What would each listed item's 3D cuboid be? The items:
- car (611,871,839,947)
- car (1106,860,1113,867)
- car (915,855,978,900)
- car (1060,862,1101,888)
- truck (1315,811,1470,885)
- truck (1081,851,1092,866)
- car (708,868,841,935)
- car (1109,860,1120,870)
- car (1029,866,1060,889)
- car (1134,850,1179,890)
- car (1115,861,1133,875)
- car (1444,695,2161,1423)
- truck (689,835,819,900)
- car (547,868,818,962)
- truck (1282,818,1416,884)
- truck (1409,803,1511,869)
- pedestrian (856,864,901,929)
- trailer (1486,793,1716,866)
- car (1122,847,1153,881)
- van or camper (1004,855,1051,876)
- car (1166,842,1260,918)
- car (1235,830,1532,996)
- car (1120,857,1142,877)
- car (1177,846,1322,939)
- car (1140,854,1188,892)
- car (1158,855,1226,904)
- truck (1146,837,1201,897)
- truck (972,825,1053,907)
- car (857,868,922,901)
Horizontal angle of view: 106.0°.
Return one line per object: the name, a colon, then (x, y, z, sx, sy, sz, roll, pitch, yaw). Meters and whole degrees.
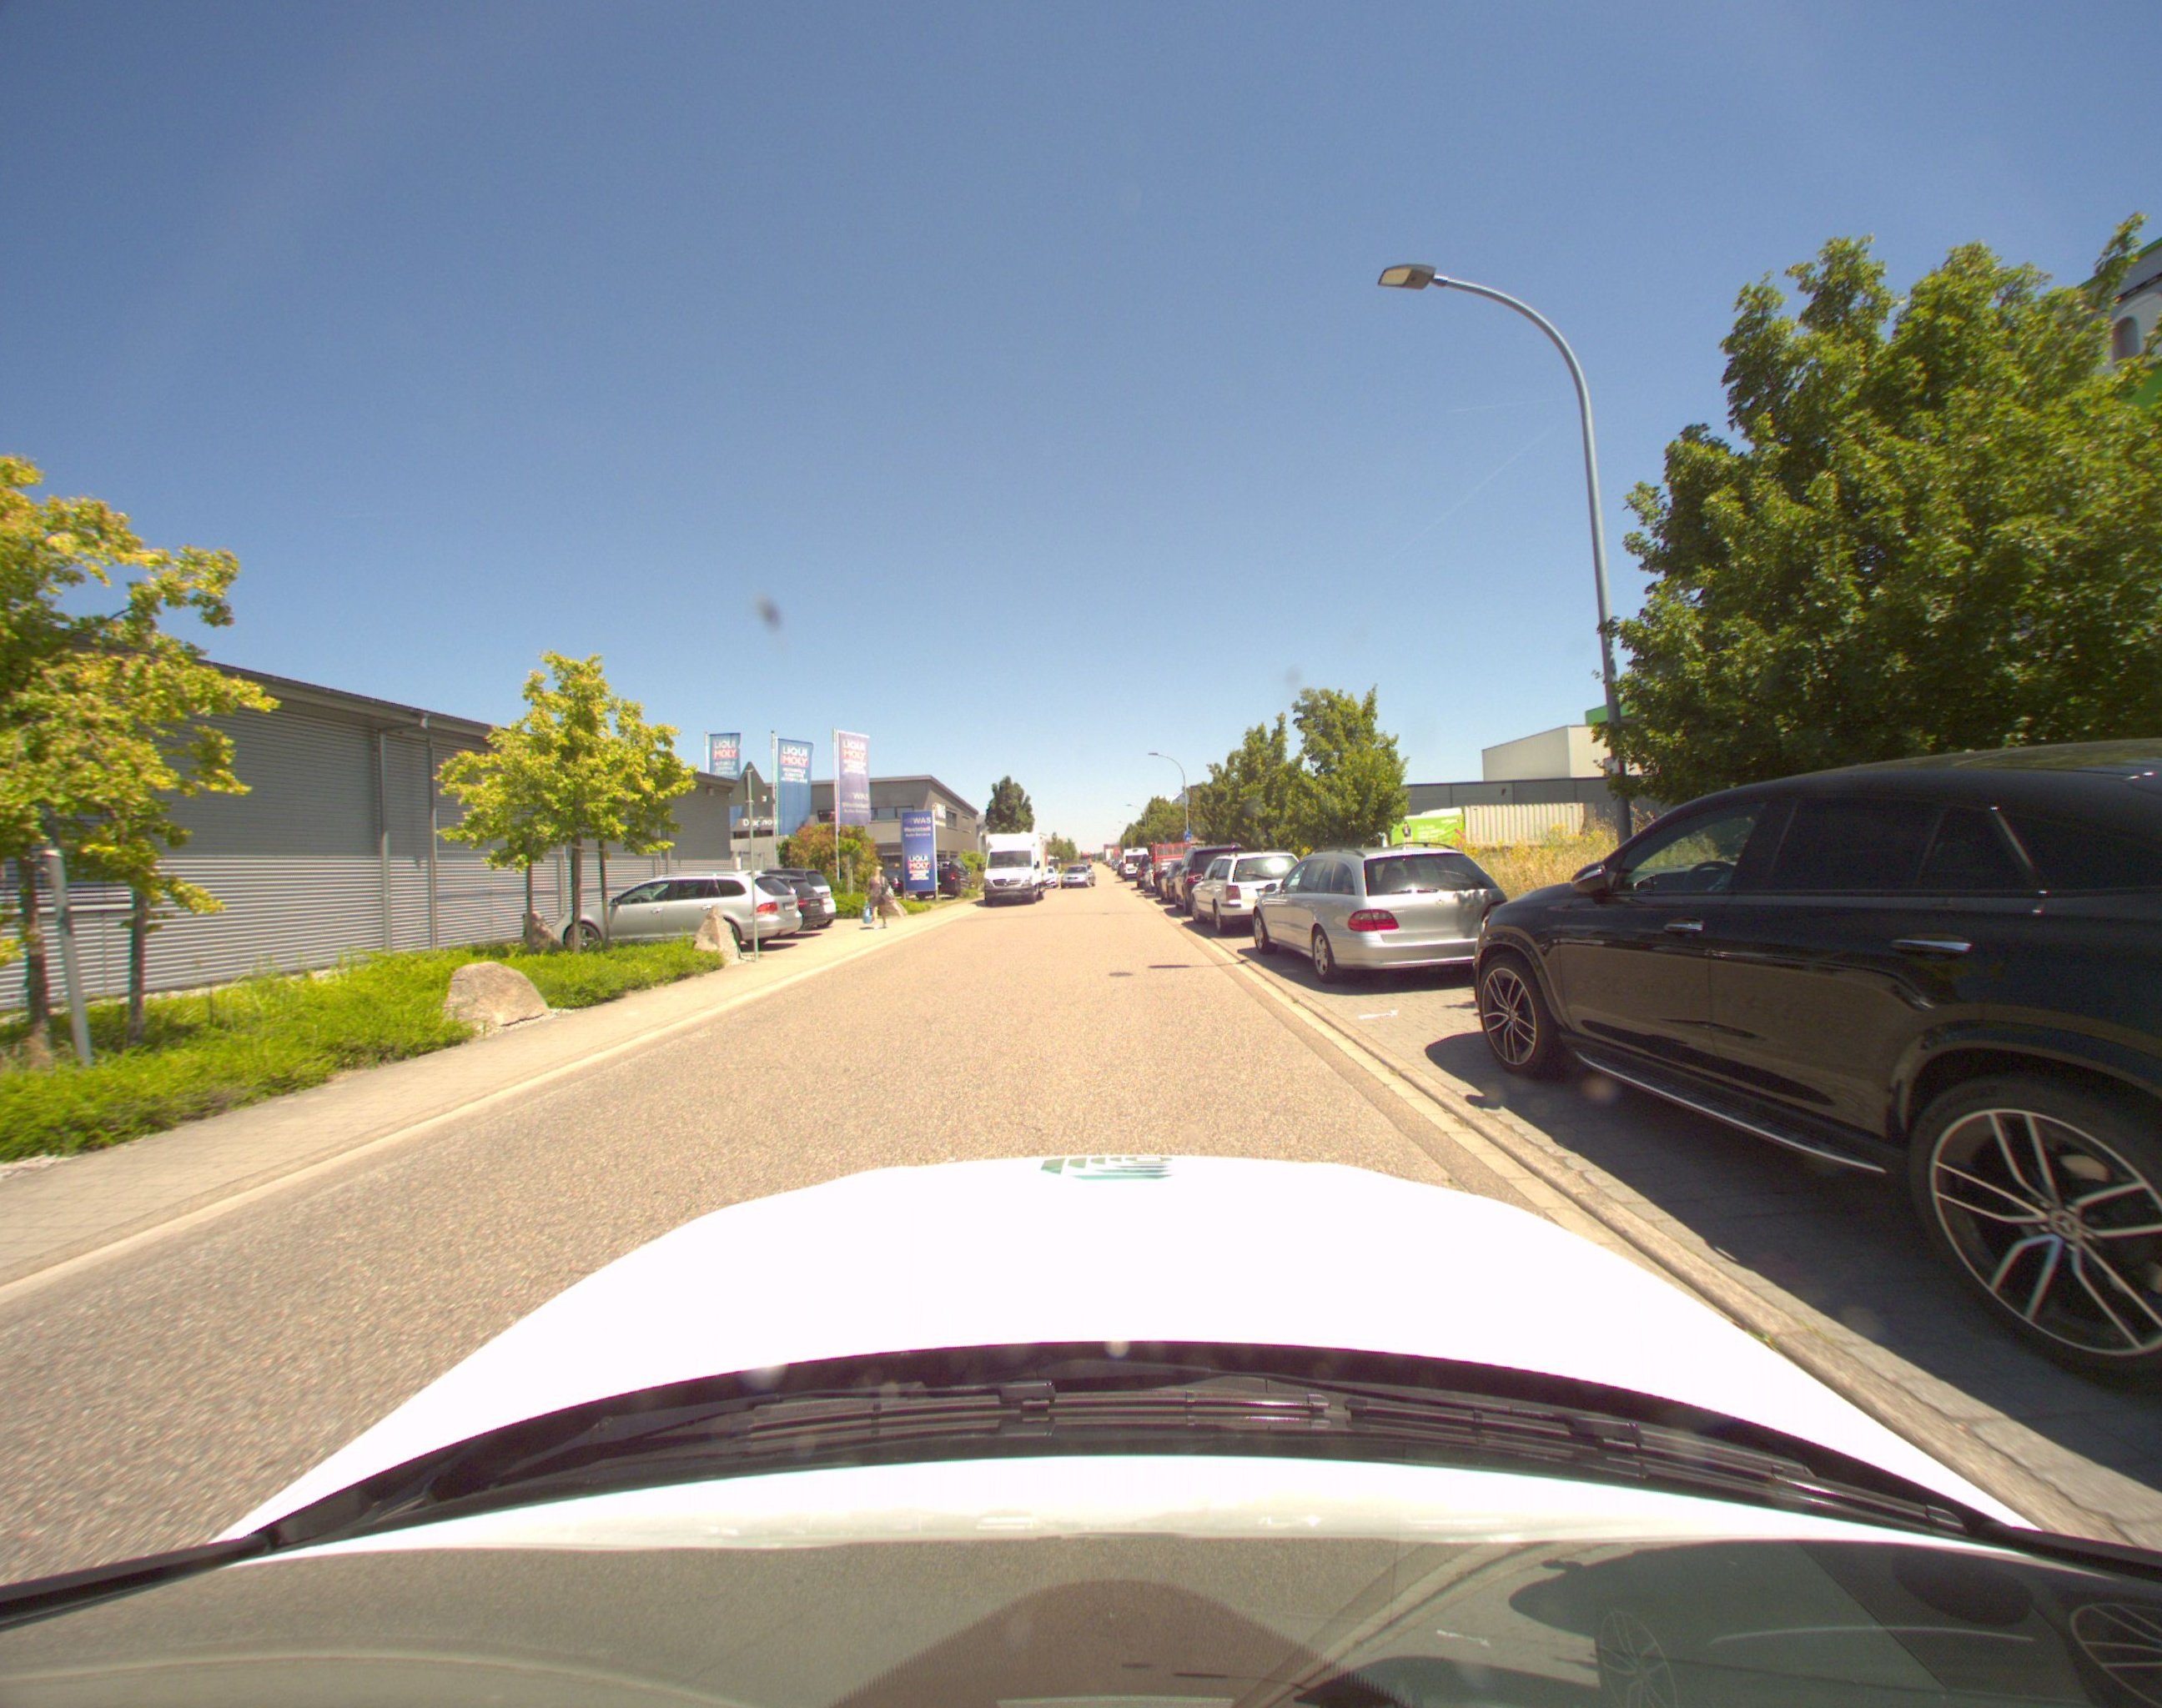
car: (-7.943, 1.205, 18.451, 4.292, 1.431, 1.847, -2, -1, 2)
car: (6.234, 1.983, 178.501, 1.579, 1.409, 3.500, -3, 0, 1)
car: (-6.378, 1.080, 39.163, 1.986, 1.956, 5.218, -2, -1, 1)
car: (0.035, 1.329, 52.026, 1.772, 1.422, 4.426, -5, -1, 10)
truck: (13.765, -0.254, 36.222, 5.887, 2.872, 2.304, -3, -1, -2)
truck: (1.316, 1.069, 199.808, 2.440, 3.513, 8.273, -4, 0, 1)
car: (-7.739, 1.168, 20.748, 2.732, 1.518, 1.535, -2, -1, 0)
car: (5.374, 1.812, 131.256, 1.712, 1.450, 3.646, -3, -1, 1)
car: (-2.412, 1.552, 54.910, 1.724, 1.458, 4.492, -2, -1, 1)
car: (4.019, 0.834, 43.998, 1.986, 1.884, 5.157, -4, -1, 1)
car: (4.999, 1.612, 94.450, 1.700, 1.504, 4.713, -3, -1, 6)
car: (3.498, 0.423, 3.403, 1.942, 1.701, 4.546, -4, 0, 2)
truck: (-19.135, 0.825, 47.544, 7.960, 3.557, 2.603, -2, -1, 30)
car: (-7.578, 1.126, 15.807, 4.248, 1.518, 1.866, -2, -1, 0)
truck: (13.337, -0.132, 40.852, 5.802, 2.913, 2.414, -3, -1, 0)
truck: (24.036, -1.081, 51.851, 5.044, 3.875, 2.804, -3, -2, 1)
pedestrian: (-5.076, 1.047, 20.428, 0.895, 1.574, 0.786, -1, -1, 2)
trailer: (32.822, -1.483, 51.718, 12.573, 3.875, 2.804, -3, -2, 1)
car: (4.493, 0.788, 65.112, 2.258, 2.497, 6.156, -3, -1, 3)
van or camper: (-8.792, 1.910, 133.487, 7.361, 3.037, 2.790, -3, -1, 0)
car: (3.461, 0.632, 22.136, 1.804, 1.725, 4.775, -4, 0, 2)
car: (3.430, 0.592, 10.376, 1.800, 1.483, 4.770, -4, 0, -2)
car: (5.009, 1.340, 82.199, 1.987, 1.825, 4.354, -3, -1, 1)
car: (3.204, 0.681, 16.489, 1.709, 1.483, 4.770, -4, 0, -2)
car: (3.792, 0.878, 37.813, 1.733, 1.530, 3.999, -5, -1, 0)
car: (3.641, 0.806, 27.470, 1.692, 1.383, 4.838, -5, -1, 1)
truck: (3.712, 0.532, 33.330, 1.673, 2.181, 4.390, -5, -1, 1)
truck: (-2.653, 0.507, 33.438, 2.353, 2.860, 6.417, -5, -1, 2)
car: (-9.257, 1.438, 39.706, 1.924, 1.416, 4.770, -1, -1, 1)
